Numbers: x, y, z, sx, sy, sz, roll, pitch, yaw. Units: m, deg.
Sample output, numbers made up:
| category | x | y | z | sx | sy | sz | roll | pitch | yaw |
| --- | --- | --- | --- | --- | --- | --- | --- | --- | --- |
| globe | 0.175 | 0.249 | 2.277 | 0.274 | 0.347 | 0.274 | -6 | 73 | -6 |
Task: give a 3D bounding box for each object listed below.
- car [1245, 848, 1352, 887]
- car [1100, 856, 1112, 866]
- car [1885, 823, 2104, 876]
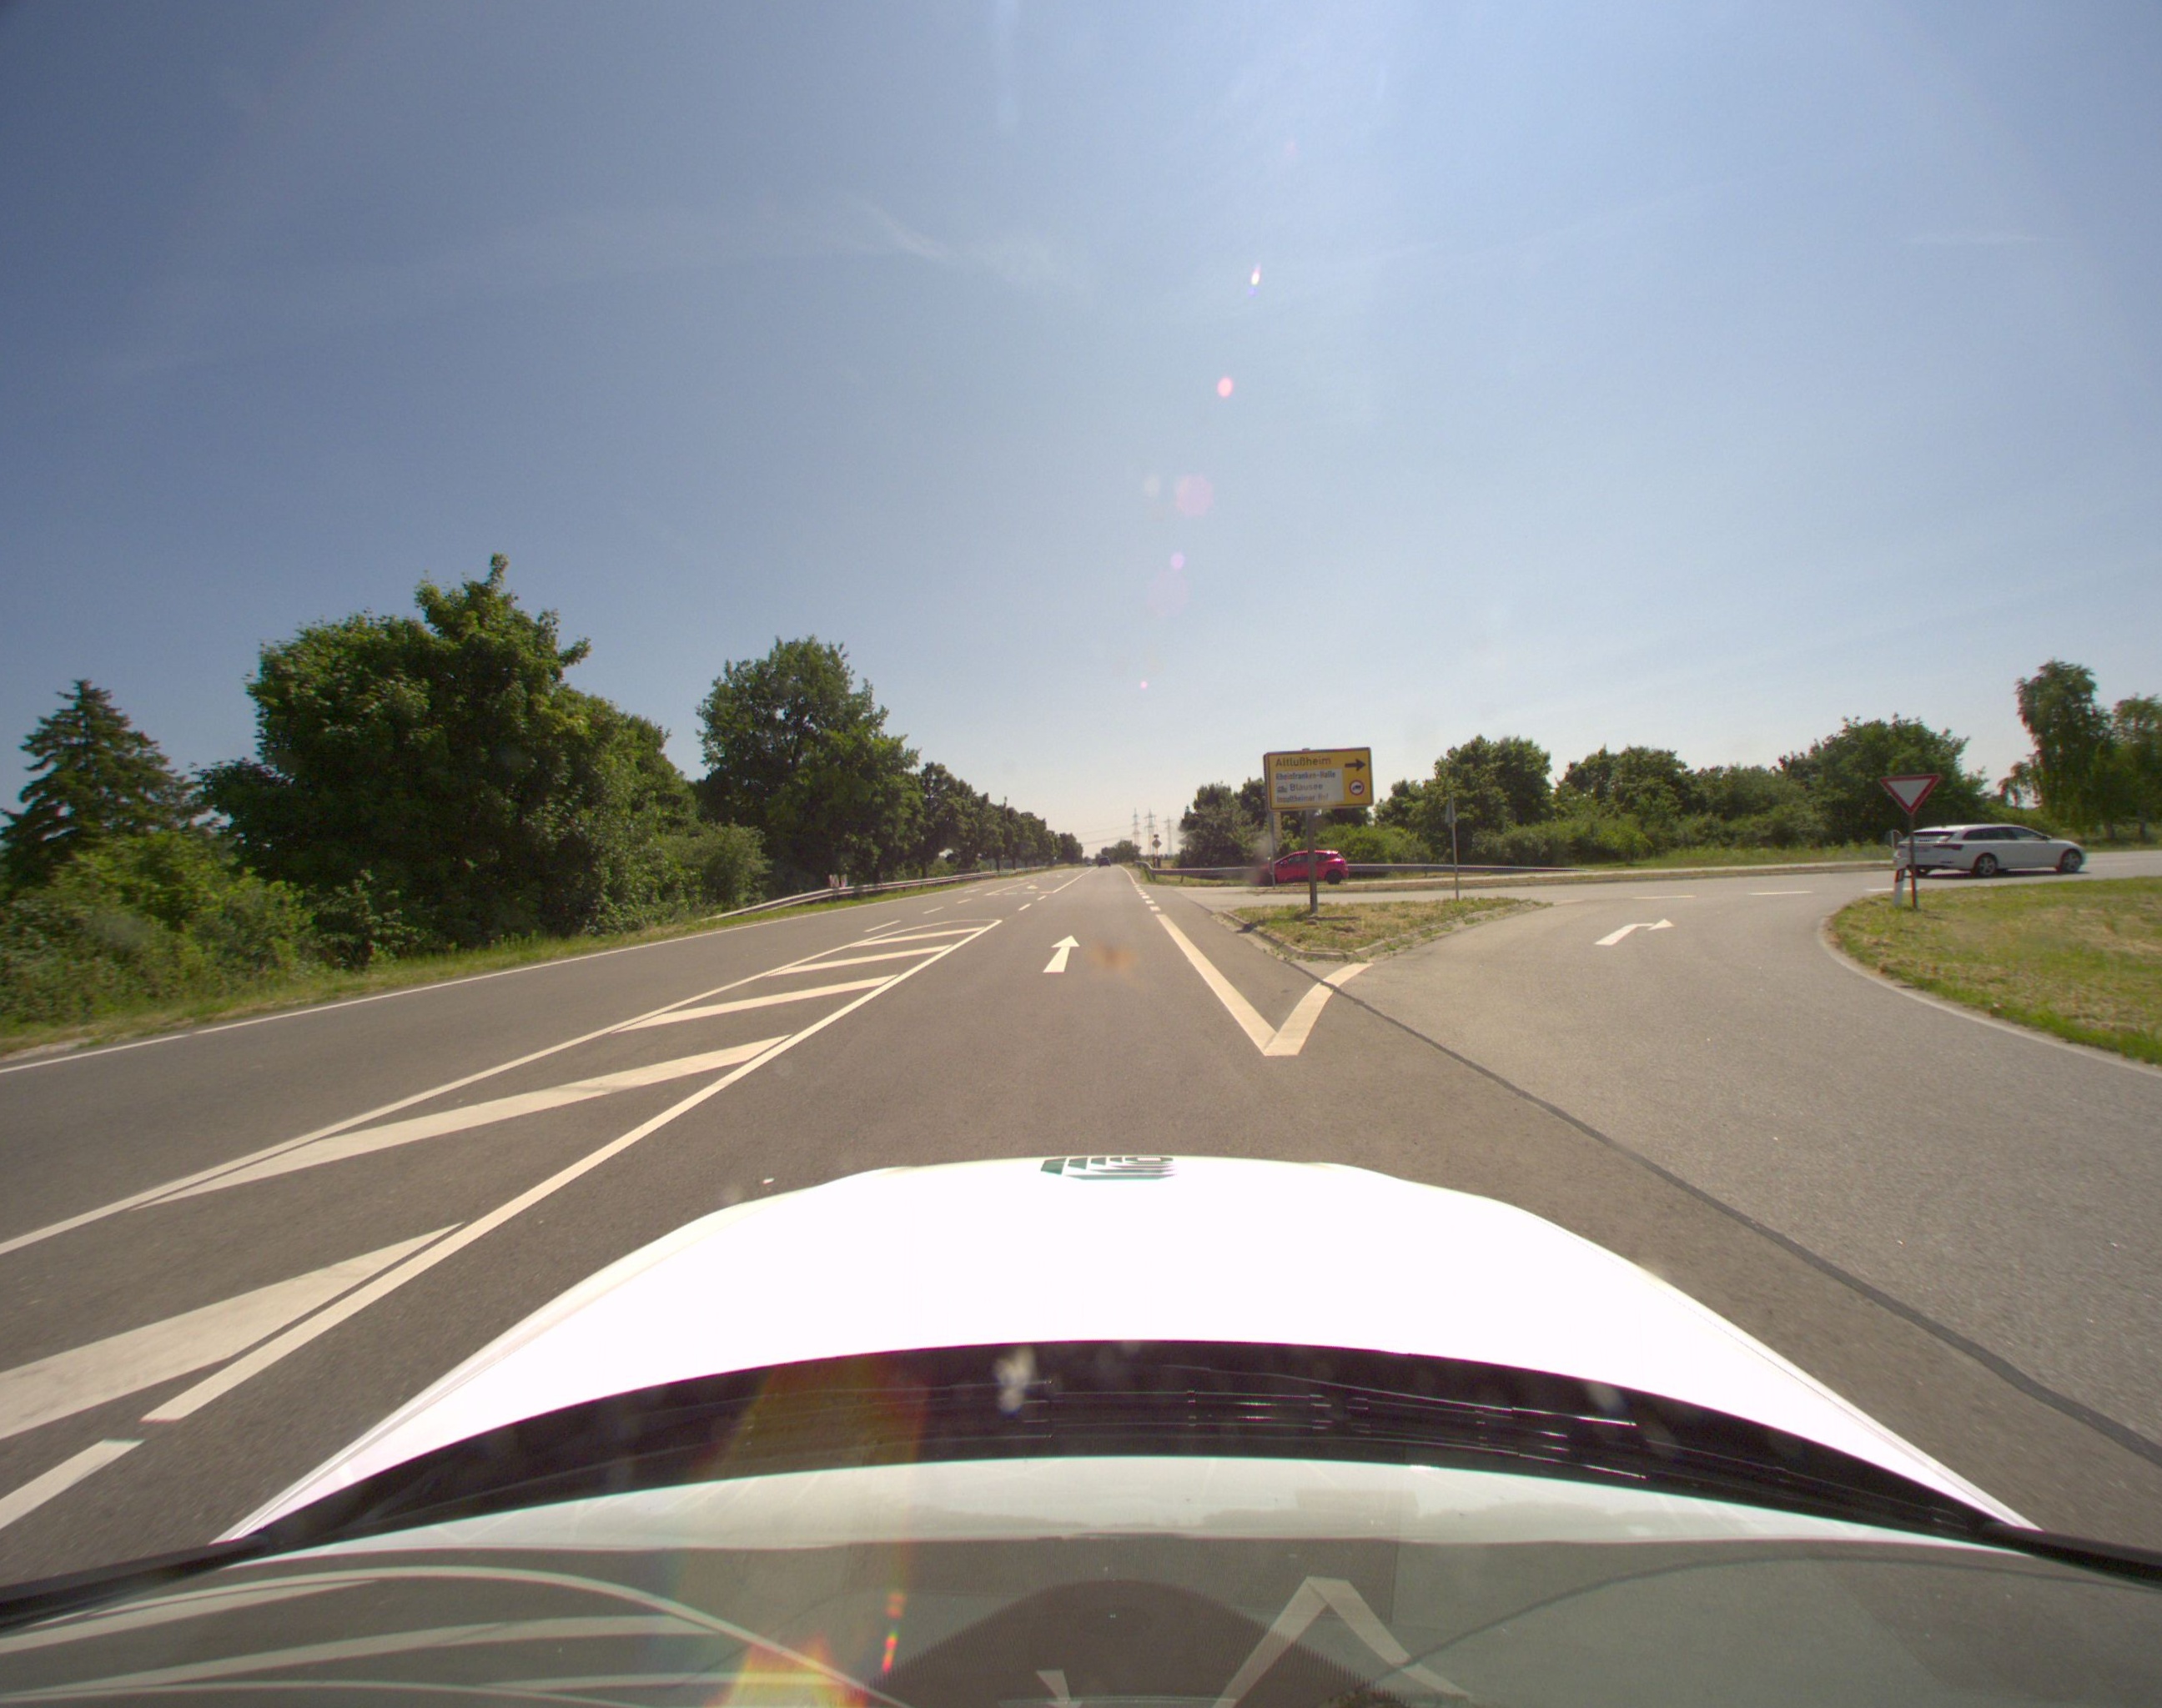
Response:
| category | x | y | z | sx | sy | sz | roll | pitch | yaw |
| --- | --- | --- | --- | --- | --- | --- | --- | --- | --- |
| car | 9.018 | 0.572 | 33.882 | 4.122 | 1.418 | 1.786 | -2 | -1 | 15 |
| car | 3.990 | 1.113 | 131.368 | 1.878 | 1.518 | 4.039 | -1 | -1 | 0 |
| car | 26.521 | -0.132 | 23.724 | 4.693 | 1.418 | 1.838 | -1 | -1 | -6 |
